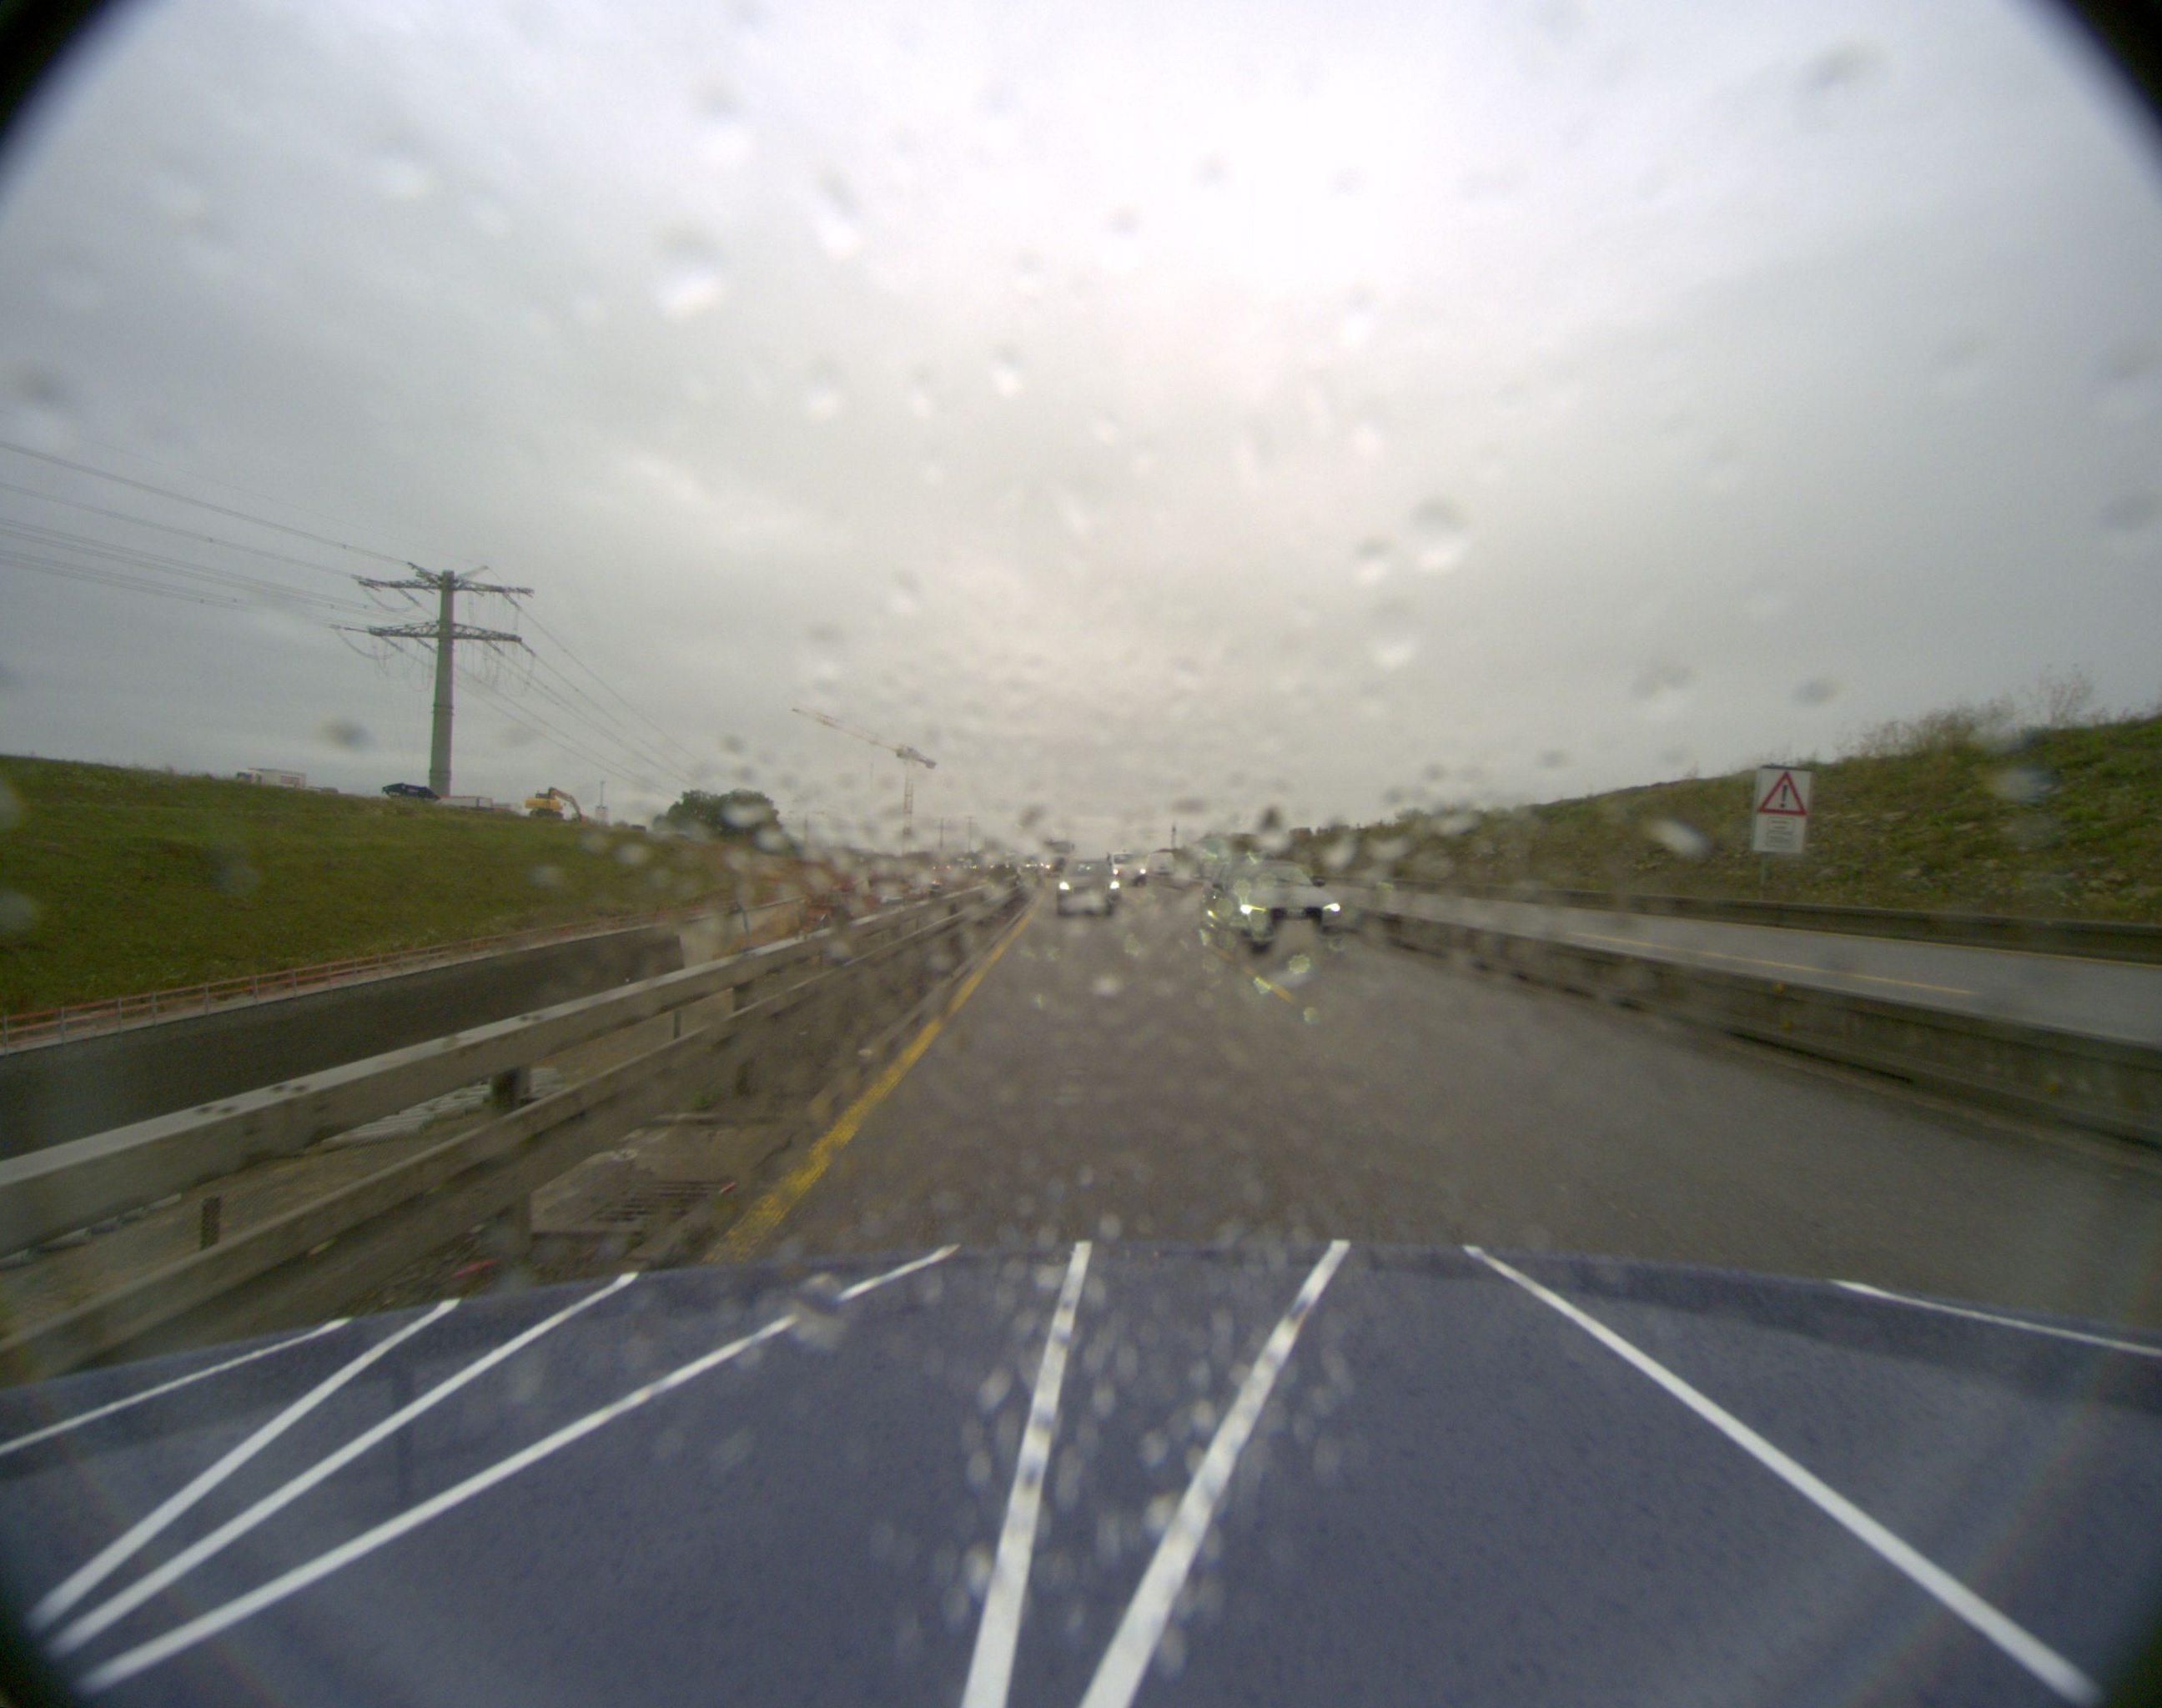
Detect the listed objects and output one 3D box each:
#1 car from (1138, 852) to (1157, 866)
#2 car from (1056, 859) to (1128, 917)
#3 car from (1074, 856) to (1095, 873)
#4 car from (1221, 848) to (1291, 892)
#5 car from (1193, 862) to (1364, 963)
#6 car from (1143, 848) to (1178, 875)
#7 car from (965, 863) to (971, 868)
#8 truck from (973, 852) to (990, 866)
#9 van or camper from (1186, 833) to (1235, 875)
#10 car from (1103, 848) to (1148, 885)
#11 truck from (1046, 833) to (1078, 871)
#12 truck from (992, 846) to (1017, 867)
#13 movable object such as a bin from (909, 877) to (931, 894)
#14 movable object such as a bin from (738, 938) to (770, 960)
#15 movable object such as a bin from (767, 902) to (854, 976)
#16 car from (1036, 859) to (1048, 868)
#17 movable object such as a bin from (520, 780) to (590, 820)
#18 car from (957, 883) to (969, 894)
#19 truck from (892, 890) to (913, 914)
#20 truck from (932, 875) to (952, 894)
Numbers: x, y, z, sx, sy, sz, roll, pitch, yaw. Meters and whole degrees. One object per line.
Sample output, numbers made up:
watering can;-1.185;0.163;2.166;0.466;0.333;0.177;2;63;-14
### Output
car;7.571;0.528;86.546;1.718;1.527;4.046;-2;0;0
car;0.236;0.908;22.248;1.874;1.481;4.260;-1;0;-2
car;0.332;1.108;83.753;1.790;1.744;3.997;-3;0;-7
car;6.995;0.600;30.716;1.765;1.588;3.999;-3;0;-1
car;3.211;0.887;13.220;1.805;1.375;4.087;-1;0;-2
car;5.996;0.518;57.686;2.006;1.876;5.273;-2;0;0
car;-36.220;3.549;243.181;1.791;1.418;3.996;-3;0;-10
truck;-28.815;1.439;219.632;3.550;3.871;8.324;-3;0;-16
van or camper;9.328;-0.008;55.243;2.106;2.801;5.941;-3;0;-3
car;2.459;0.638;43.101;2.070;1.933;5.155;-1;0;-2
truck;-1.924;-0.212;73.508;2.856;3.462;8.641;-2;0;-3
truck;-17.515;0.604;173.201;4.321;4.319;13.395;-3;0;-10
movable object such as a bin;-36.023;7.004;169.732;3.517;3.405;6.650;-2;1;-1
movable object such as a bin;-36.656;10.629;85.276;2.524;1.900;3.254;-4;1;-9
movable object such as a bin;-27.819;8.548;79.127;4.907;5.639;12.081;-3;3;-3
car;-7.837;1.943;152.255;1.791;1.646;3.996;-3;0;-13
movable object such as a bin;-64.413;-6.511;93.251;3.107;4.181;8.176;0;0;-2
car;-26.882;7.910;173.173;1.999;2.002;3.999;-15;1;-3
truck;-31.873;8.448;135.989;2.711;3.591;9.067;0;1;-7
truck;-32.121;7.030;176.363;3.361;3.521;8.902;-1;2;-3
